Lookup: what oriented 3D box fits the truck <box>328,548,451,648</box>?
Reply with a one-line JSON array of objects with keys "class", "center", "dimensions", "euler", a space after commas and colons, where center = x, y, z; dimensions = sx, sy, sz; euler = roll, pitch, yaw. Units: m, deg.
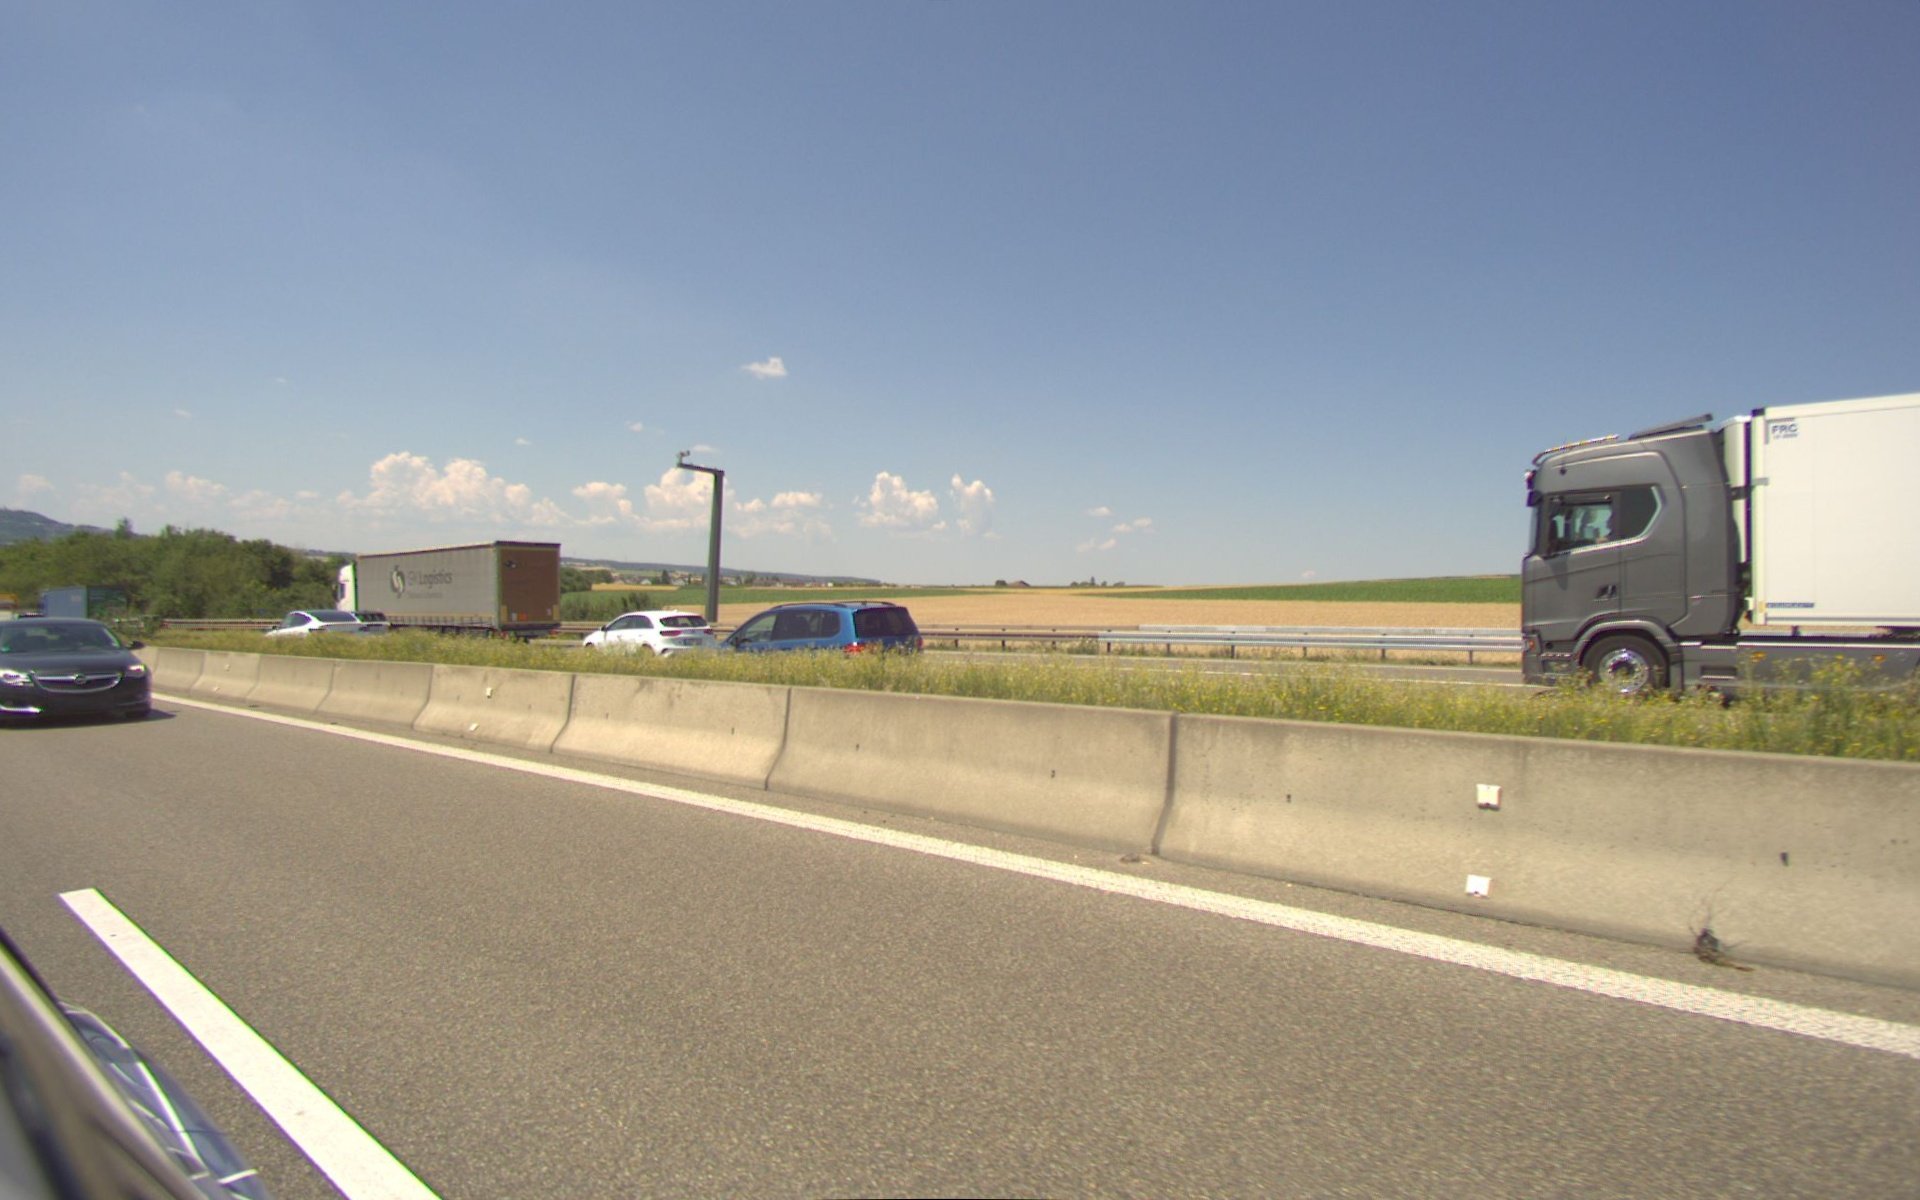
[{"class": "truck", "center": [-26.644, -0.065, 47.188], "dimensions": [6.143, 4.360, 3.100], "euler": [-1, 0, 41]}]

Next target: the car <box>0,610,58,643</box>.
[{"class": "car", "center": [-57.313, 1.592, 62.217], "dimensions": [5.671, 1.918, 1.974], "euler": [0, 0, 40]}]

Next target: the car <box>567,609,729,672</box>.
[{"class": "car", "center": [-8.136, 0.993, 26.166], "dimensions": [4.569, 1.467, 1.847], "euler": [-1, 0, 40]}]

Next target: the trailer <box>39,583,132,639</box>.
[{"class": "trailer", "center": [-71.813, 0.875, 82.937], "dimensions": [14.363, 4.225, 3.131], "euler": [-1, 0, 39]}]

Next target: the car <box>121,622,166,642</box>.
[{"class": "car", "center": [-59.440, 2.318, 73.635], "dimensions": [4.344, 1.396, 1.642], "euler": [-1, 0, 38]}]

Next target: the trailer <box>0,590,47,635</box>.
[{"class": "trailer", "center": [-93.210, 1.249, 99.392], "dimensions": [14.362, 4.131, 2.924], "euler": [-1, 0, 38]}]

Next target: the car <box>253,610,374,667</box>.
[{"class": "car", "center": [-19.917, 1.140, 31.088], "dimensions": [4.585, 1.583, 1.860], "euler": [-1, 0, 40]}]

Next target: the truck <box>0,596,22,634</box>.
[{"class": "truck", "center": [-98.878, 1.562, 103.853], "dimensions": [7.088, 3.866, 2.724], "euler": [-1, 0, 38]}]

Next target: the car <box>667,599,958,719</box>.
[{"class": "car", "center": [-2.558, 0.881, 16.714], "dimensions": [4.960, 1.680, 1.973], "euler": [-1, 0, 40]}]

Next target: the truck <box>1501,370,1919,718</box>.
[{"class": "truck", "center": [11.956, -0.662, 14.216], "dimensions": [7.122, 4.238, 3.193], "euler": [-1, -1, 41]}]

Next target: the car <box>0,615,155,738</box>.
[{"class": "car", "center": [-13.621, 1.029, 15.038], "dimensions": [4.747, 1.555, 1.784], "euler": [-1, -1, 41]}]

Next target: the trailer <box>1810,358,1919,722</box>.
[{"class": "trailer", "center": [17.233, -0.850, 9.546], "dimensions": [14.020, 4.420, 3.208], "euler": [-1, -1, 41]}]

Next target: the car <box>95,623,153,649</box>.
[{"class": "car", "center": [-50.727, 2.147, 61.365], "dimensions": [4.485, 1.471, 1.825], "euler": [-1, 0, 38]}]

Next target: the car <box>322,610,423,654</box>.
[{"class": "car", "center": [-22.821, 1.189, 39.253], "dimensions": [4.585, 1.599, 1.973], "euler": [-1, -1, 40]}]

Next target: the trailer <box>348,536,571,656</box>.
[{"class": "trailer", "center": [-21.509, -0.069, 42.712], "dimensions": [14.536, 4.357, 3.091], "euler": [-1, 0, 41]}]
